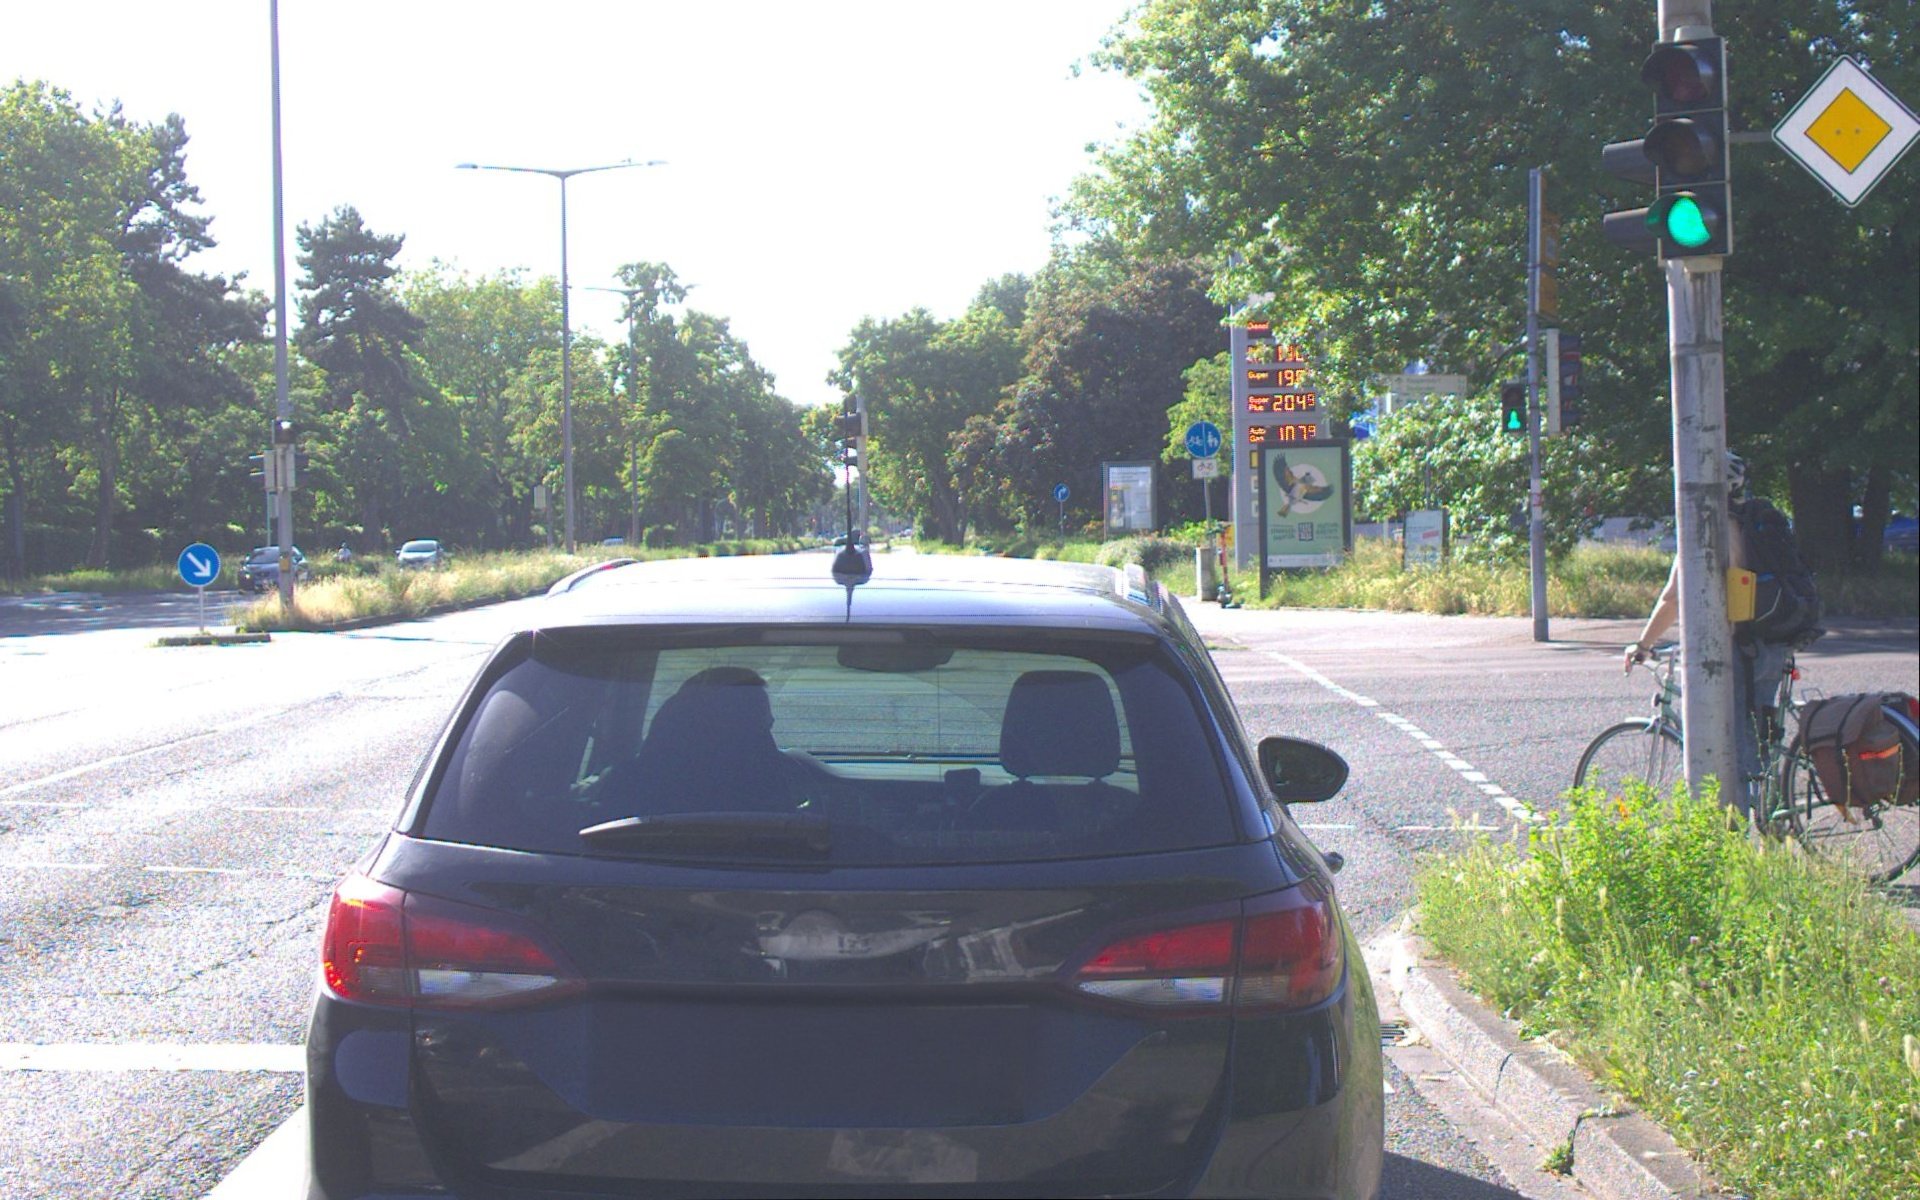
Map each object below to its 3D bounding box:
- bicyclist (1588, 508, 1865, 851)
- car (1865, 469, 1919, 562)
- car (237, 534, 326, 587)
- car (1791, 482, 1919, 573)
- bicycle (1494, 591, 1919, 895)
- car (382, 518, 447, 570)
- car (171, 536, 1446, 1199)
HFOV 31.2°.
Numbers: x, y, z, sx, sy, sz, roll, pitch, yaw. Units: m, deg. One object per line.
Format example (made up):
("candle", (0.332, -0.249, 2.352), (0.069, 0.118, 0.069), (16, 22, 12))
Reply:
("bicyclist", (2.970, 0.308, 13.338), (0.536, 1.272, 0.829), (-3, 0, -44))
("car", (17.092, -1.430, 56.723), (3.887, 1.512, 1.746), (-2, 1, -23))
("car", (-20.955, -1.244, 106.301), (1.993, 1.525, 4.000), (-2, 1, -1))
("car", (16.616, -1.289, 59.809), (3.887, 1.512, 1.746), (-2, 1, -23))
("bicycle", (2.978, 0.549, 13.340), (0.536, 1.094, 1.775), (-3, 0, -44))
("car", (-22.170, -2.279, 139.877), (1.993, 2.007, 4.000), (-2, 1, -1))
("car", (-0.233, 0.634, 6.854), (1.756, 1.490, 4.207), (0, 1, -1))
